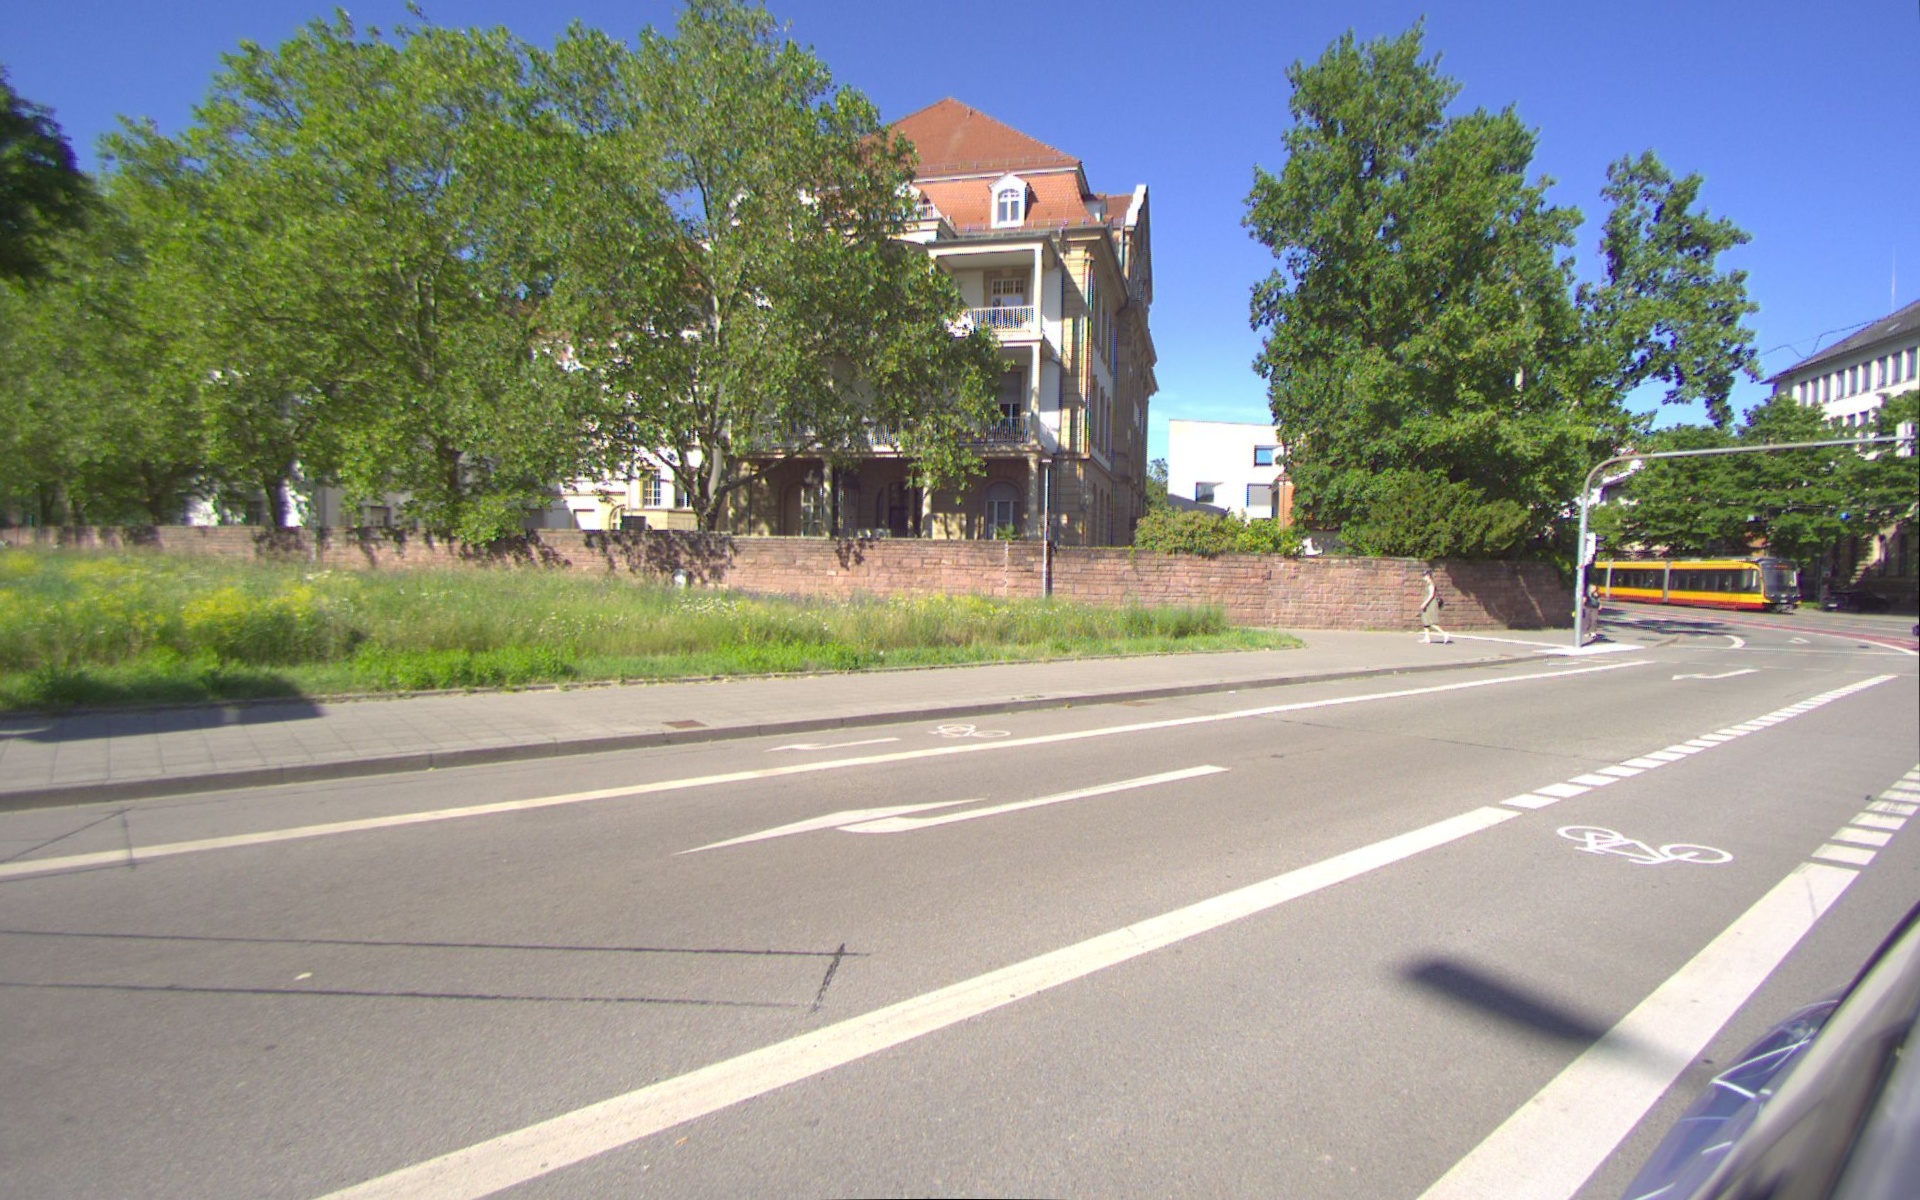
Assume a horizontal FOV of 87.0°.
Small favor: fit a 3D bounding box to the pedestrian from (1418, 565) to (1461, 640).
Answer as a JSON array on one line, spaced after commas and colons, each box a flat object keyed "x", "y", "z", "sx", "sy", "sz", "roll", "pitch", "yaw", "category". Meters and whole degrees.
[{"x": 12.397, "y": 0.046, "z": 26.163, "sx": 0.620, "sy": 1.881, "sz": 0.785, "roll": 0, "pitch": 2, "yaw": -45, "category": "pedestrian"}]

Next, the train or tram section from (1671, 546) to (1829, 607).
[{"x": 52.159, "y": -1.616, "z": 67.505, "sx": 2.899, "sy": 3.563, "sz": 13.781, "roll": 2, "pitch": 2, "yaw": 14, "category": "train or tram section"}]

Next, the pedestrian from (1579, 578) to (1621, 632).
[{"x": 20.578, "y": 0.143, "z": 32.558, "sx": 0.618, "sy": 1.687, "sz": 0.933, "roll": 0, "pitch": 2, "yaw": -35, "category": "pedestrian"}]

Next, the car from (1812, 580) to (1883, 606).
[{"x": 60.431, "y": -0.510, "z": 68.963, "sx": 1.806, "sy": 1.615, "sz": 3.988, "roll": 2, "pitch": 2, "yaw": 11, "category": "car"}]

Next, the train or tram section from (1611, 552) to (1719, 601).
[{"x": 55.281, "y": -1.895, "z": 79.808, "sx": 2.898, "sy": 3.563, "sz": 11.630, "roll": 2, "pitch": 2, "yaw": 14, "category": "train or tram section"}]

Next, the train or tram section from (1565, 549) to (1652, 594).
[{"x": 58.073, "y": -2.574, "z": 91.070, "sx": 2.898, "sy": 3.728, "sz": 11.630, "roll": 2, "pitch": 2, "yaw": 14, "category": "train or tram section"}]
